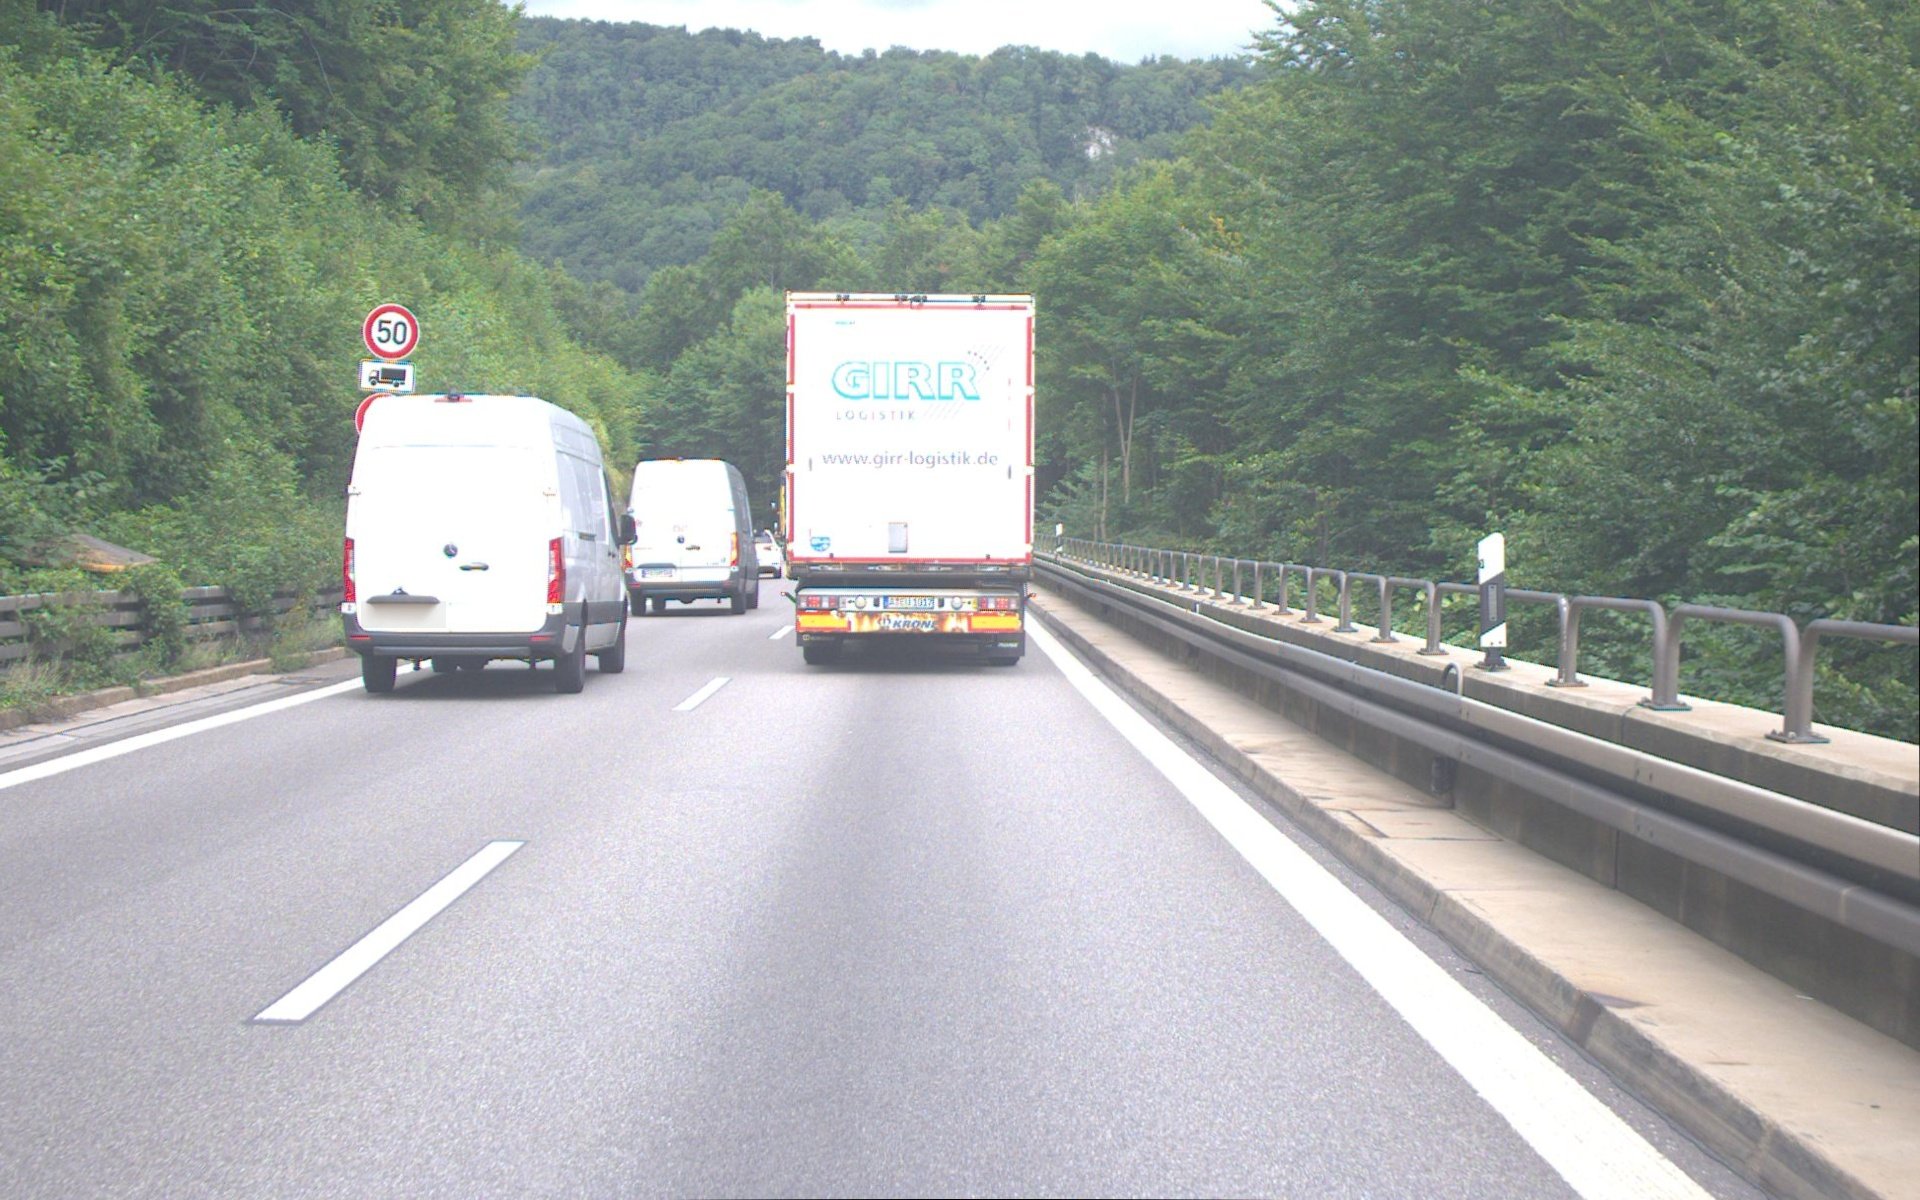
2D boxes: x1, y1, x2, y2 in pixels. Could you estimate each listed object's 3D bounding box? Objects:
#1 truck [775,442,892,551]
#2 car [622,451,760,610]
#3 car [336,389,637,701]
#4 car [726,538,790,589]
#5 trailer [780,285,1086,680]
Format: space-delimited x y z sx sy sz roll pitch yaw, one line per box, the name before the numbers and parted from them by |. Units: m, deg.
truck | -5.033 -3.953 133.780 3.057 3.973 13.702 1 1 -8
car | -4.692 -1.242 60.696 1.939 2.663 5.992 0 2 0
car | -4.388 -0.566 32.966 1.989 2.663 6.937 0 2 -1
car | -5.967 -1.090 101.826 1.732 1.416 4.001 1 1 -1
trailer | -0.365 -1.482 41.116 3.057 3.972 12.138 1 3 -1
